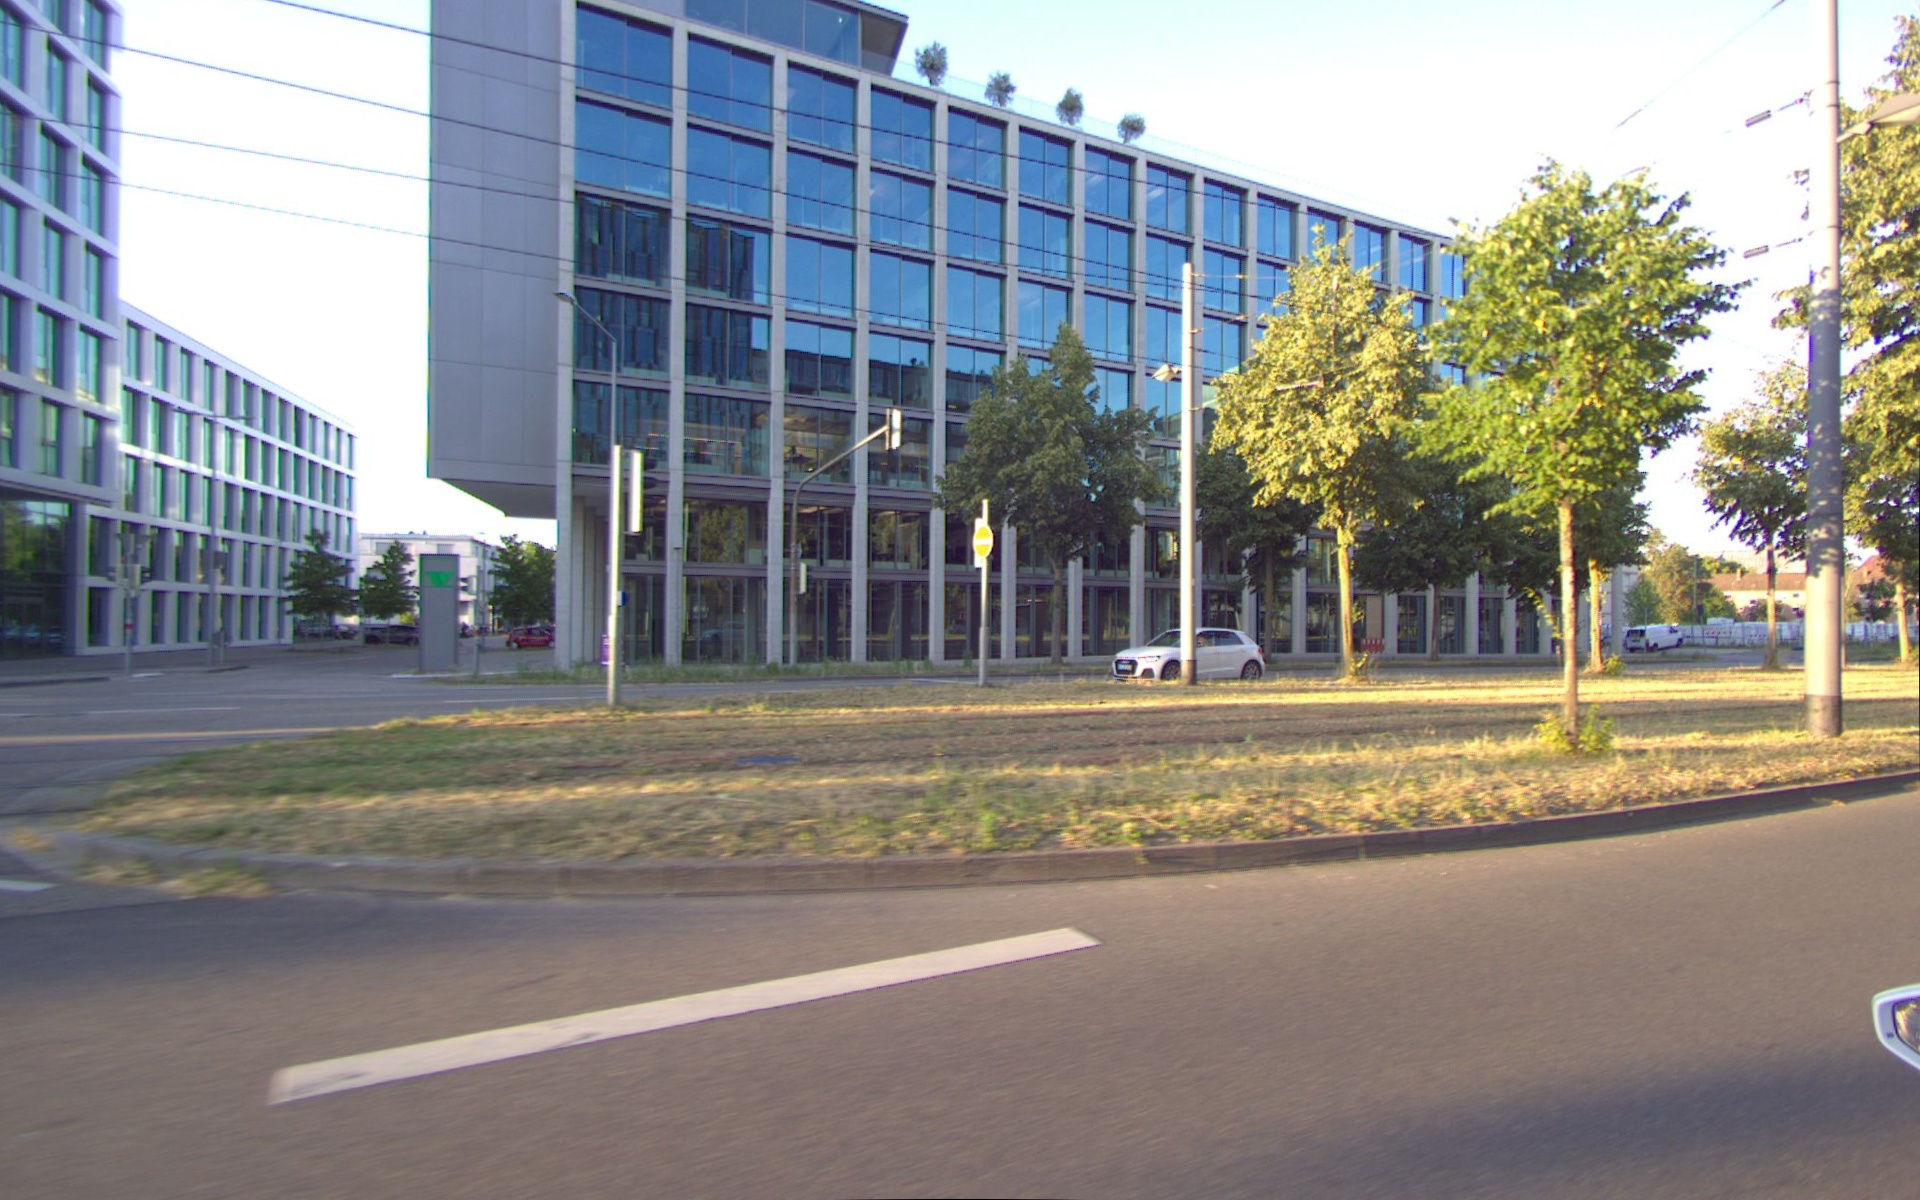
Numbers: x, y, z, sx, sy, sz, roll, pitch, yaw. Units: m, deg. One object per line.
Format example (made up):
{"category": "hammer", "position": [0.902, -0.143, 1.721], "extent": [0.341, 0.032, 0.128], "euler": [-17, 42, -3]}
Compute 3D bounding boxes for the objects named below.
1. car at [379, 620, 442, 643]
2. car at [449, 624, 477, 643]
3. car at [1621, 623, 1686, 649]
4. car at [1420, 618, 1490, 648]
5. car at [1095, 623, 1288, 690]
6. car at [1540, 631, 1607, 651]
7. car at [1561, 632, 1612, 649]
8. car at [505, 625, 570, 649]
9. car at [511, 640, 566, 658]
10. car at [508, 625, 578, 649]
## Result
{"category": "car", "position": [-41.149, 2.347, 75.346], "extent": [3.943, 1.686, 1.989], "euler": [0, -1, -23]}
{"category": "car", "position": [-50.632, 3.418, 102.367], "extent": [1.778, 1.817, 3.797], "euler": [0, -1, -15]}
{"category": "car", "position": [55.178, 2.851, 79.861], "extent": [5.019, 2.040, 2.198], "euler": [1, -1, -28]}
{"category": "car", "position": [42.527, 2.829, 86.404], "extent": [1.945, 2.500, 5.470], "euler": [1, -1, -23]}
{"category": "car", "position": [5.698, 1.321, 24.622], "extent": [4.576, 1.505, 1.894], "euler": [1, -1, -30]}
{"category": "car", "position": [46.538, 3.104, 76.283], "extent": [1.868, 1.465, 3.977], "euler": [1, -1, -24]}
{"category": "car", "position": [53.031, 3.406, 84.999], "extent": [3.949, 1.437, 1.986], "euler": [1, -1, -28]}
{"category": "car", "position": [-28.771, 2.512, 68.513], "extent": [3.935, 1.576, 1.698], "euler": [0, -1, -16]}
{"category": "car", "position": [-31.380, 3.648, 74.903], "extent": [3.613, 1.236, 1.518], "euler": [0, -1, -18]}
{"category": "car", "position": [-29.245, 2.578, 70.585], "extent": [4.463, 1.576, 1.696], "euler": [0, -1, -19]}
